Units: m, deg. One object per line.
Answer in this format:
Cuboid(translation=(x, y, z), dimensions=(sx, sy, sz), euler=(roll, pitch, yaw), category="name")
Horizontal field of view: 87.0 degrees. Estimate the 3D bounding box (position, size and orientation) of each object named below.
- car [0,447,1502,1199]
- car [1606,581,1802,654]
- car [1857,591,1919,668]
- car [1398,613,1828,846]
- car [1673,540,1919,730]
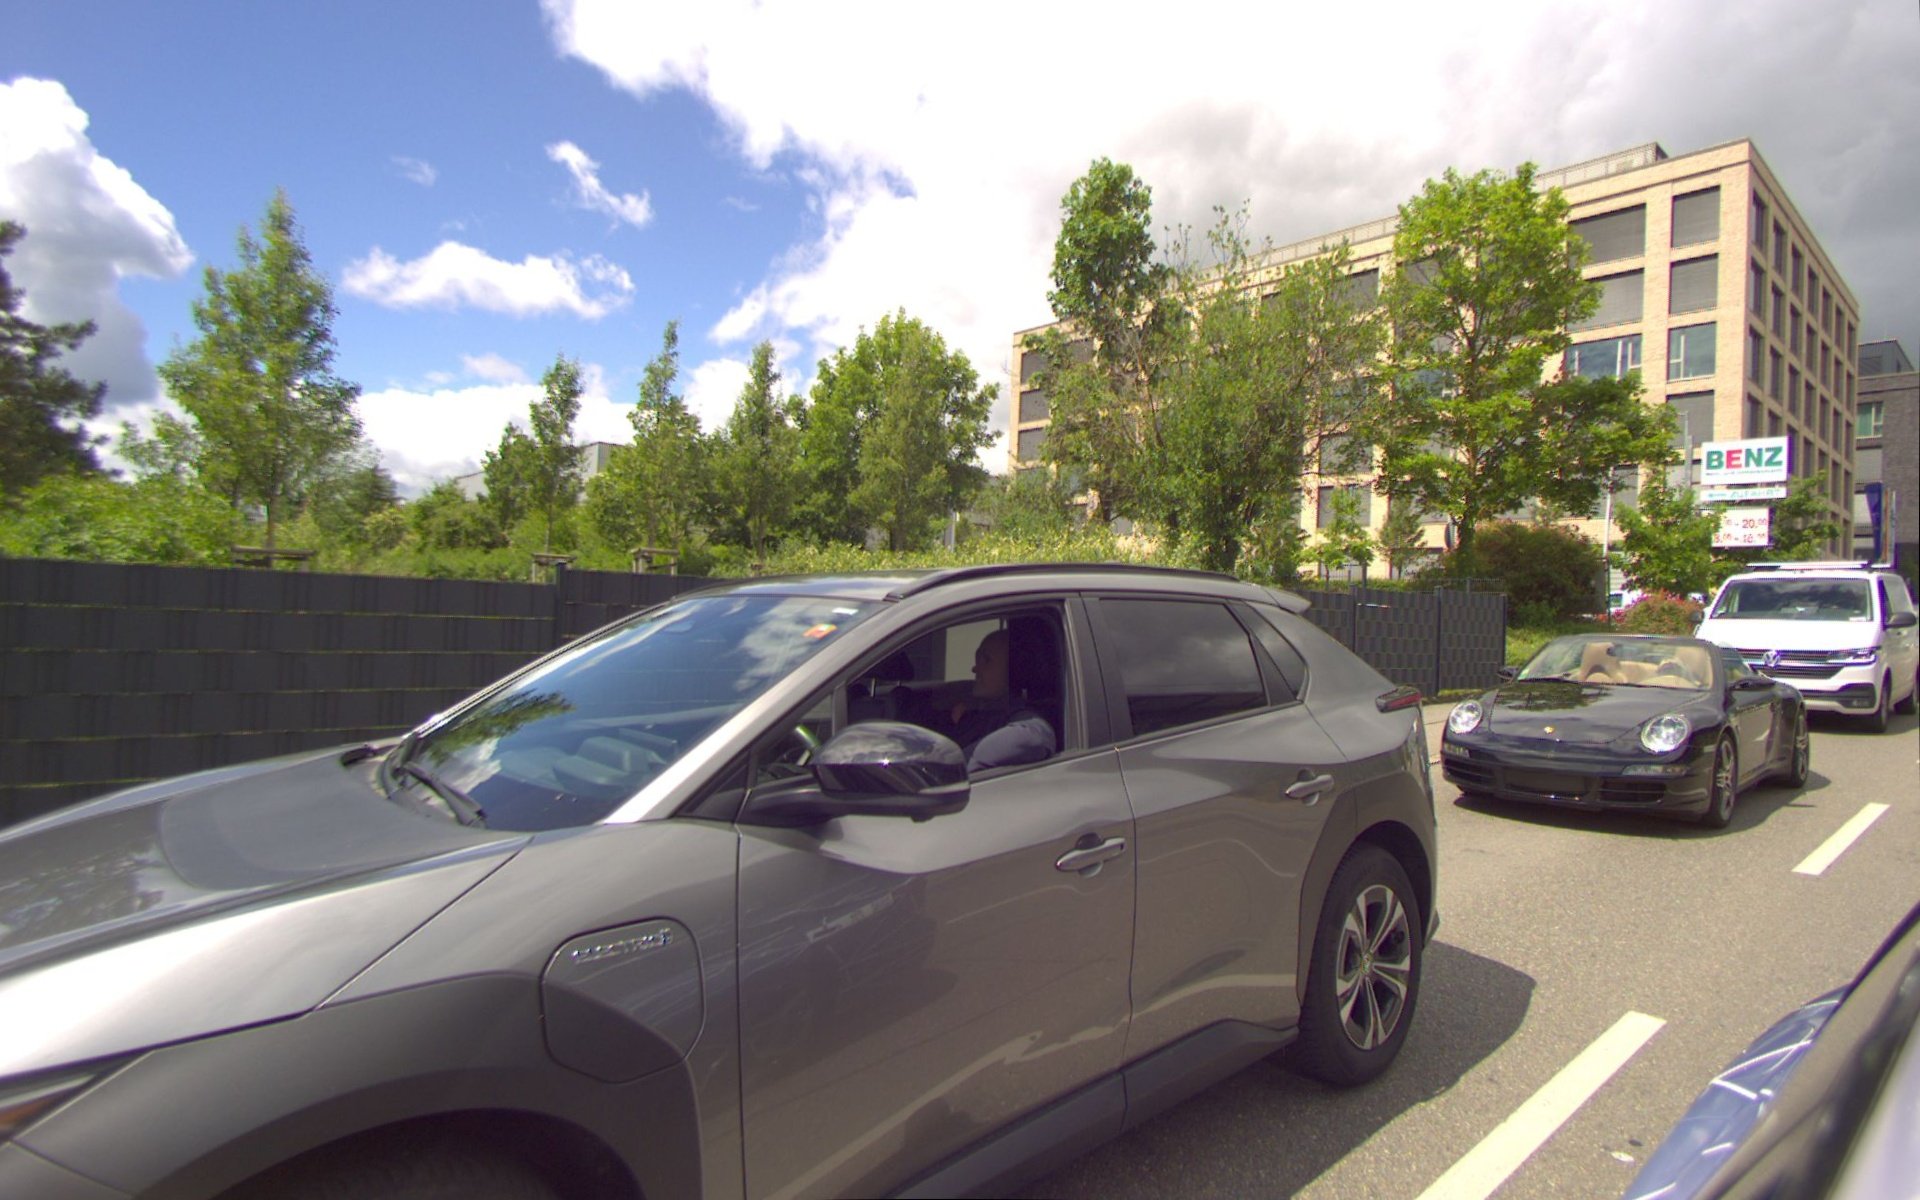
Cuboid(translation=(-0.372, 0.644, 2.940), dimensions=(4.501, 1.649, 1.997), euler=(0, 1, -42), category="car")
Cuboid(translation=(19.955, 0.417, 27.258), dimensions=(1.793, 1.754, 3.991), euler=(0, 2, -44), category="car")
Cuboid(translation=(20.238, 0.575, 21.077), dimensions=(3.930, 1.481, 1.817), euler=(0, 2, -41), category="car")
Cuboid(translation=(5.279, 0.788, 7.986), dimensions=(3.967, 1.310, 1.823), euler=(0, 0, -41), category="car")
Cuboid(translation=(11.326, 0.370, 13.347), dimensions=(4.677, 2.075, 2.087), euler=(0, 0, -41), category="car")
